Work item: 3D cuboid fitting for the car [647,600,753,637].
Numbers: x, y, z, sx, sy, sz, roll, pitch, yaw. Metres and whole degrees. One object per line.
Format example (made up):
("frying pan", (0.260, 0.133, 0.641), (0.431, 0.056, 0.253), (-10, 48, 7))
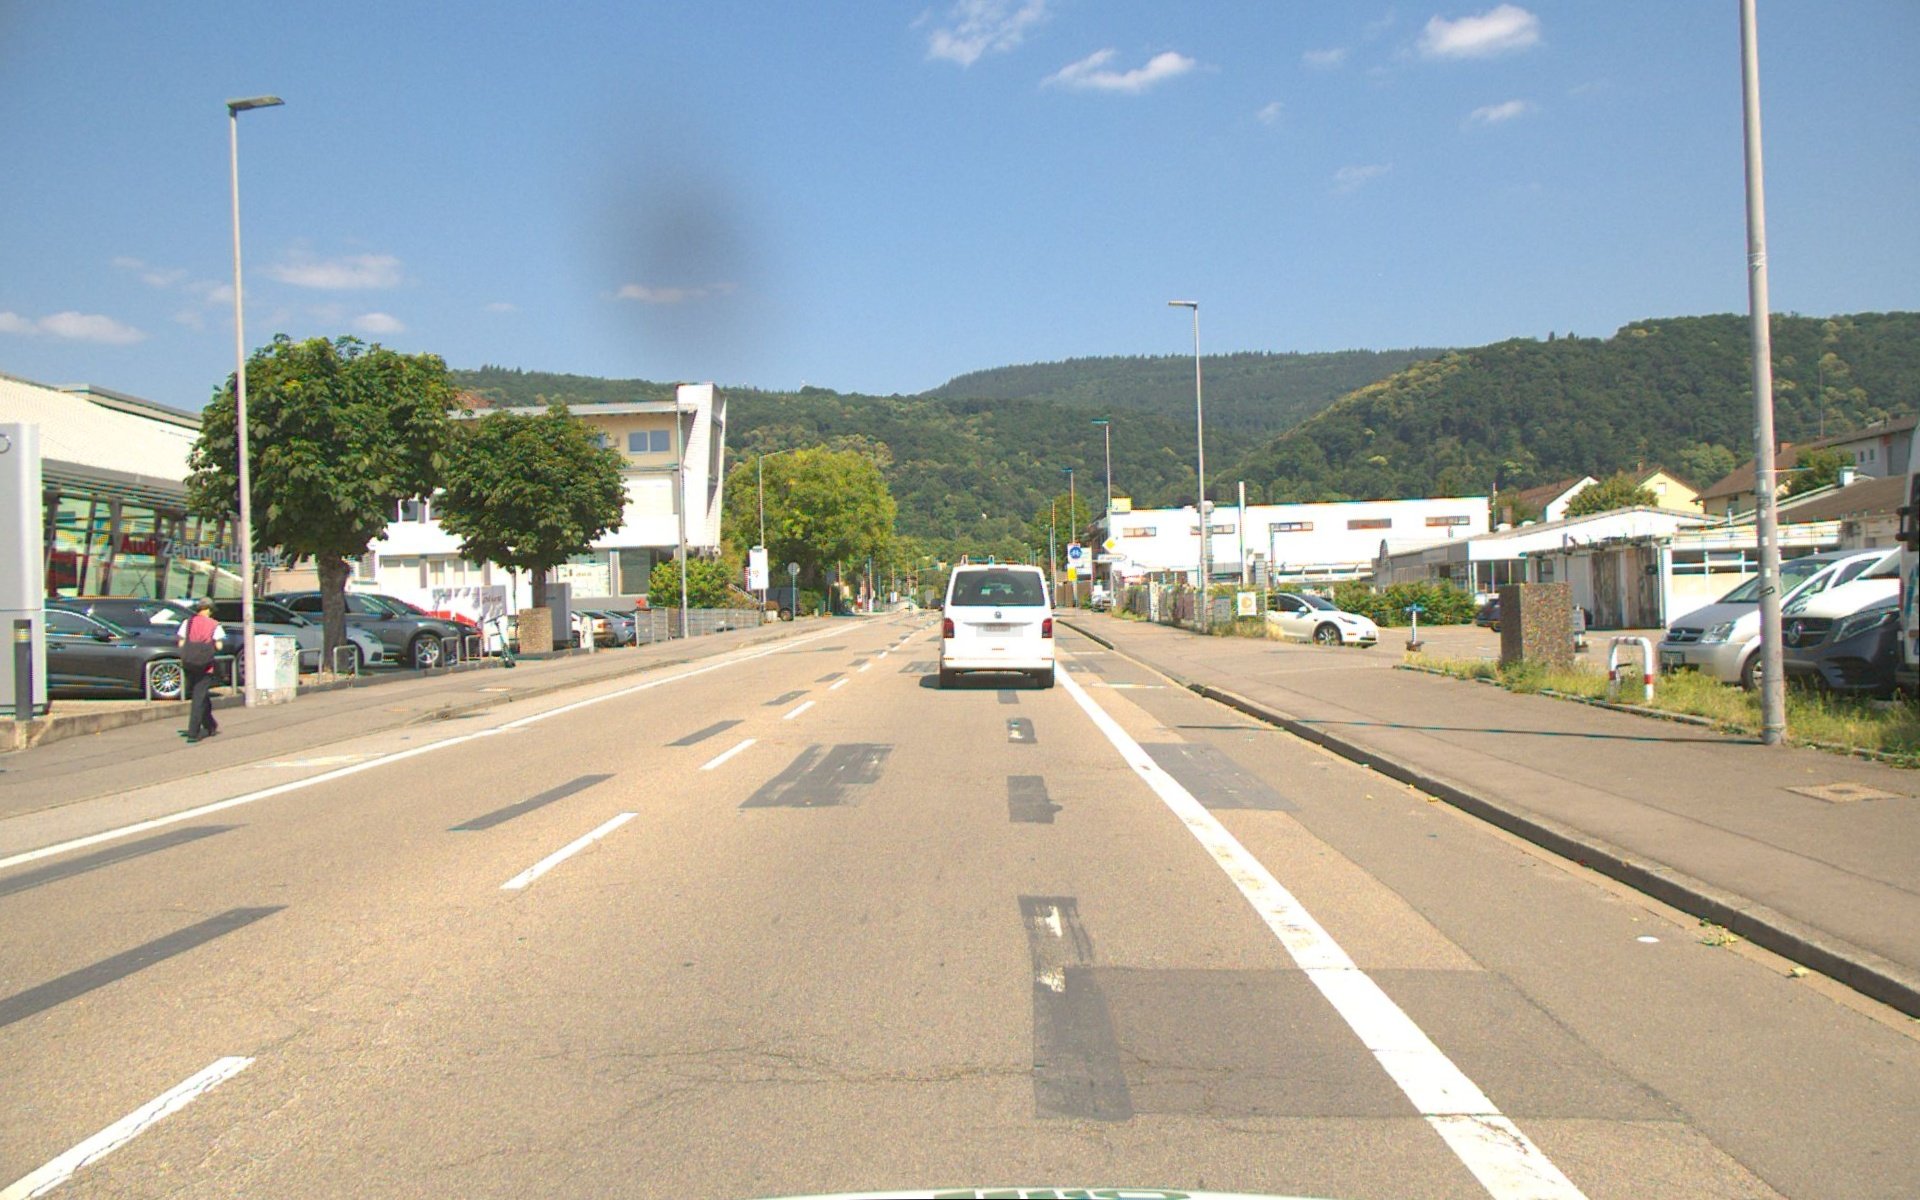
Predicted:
("car", (-12.293, 0.867, 78.432), (4.643, 1.506, 2.048), (-2, 0, -1))

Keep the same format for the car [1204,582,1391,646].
("car", (9.607, 0.448, 47.346), (4.960, 1.650, 2.010), (-1, -5, 44))

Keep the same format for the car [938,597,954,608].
("car", (-1.928, 0.291, 222.747), (1.952, 1.394, 4.327), (-3, 0, 2))

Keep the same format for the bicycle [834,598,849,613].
("bicycle", (-9.011, 0.440, 126.220), (1.006, 1.137, 2.765), (0, 0, -2))

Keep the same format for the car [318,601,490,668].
("car", (-14.428, 0.875, 42.964), (3.945, 1.577, 1.840), (-2, 0, -30))

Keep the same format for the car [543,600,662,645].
("car", (-13.010, 0.831, 60.432), (3.906, 1.469, 1.858), (2, -2, -2))

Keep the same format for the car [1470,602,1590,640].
("car", (23.391, 0.851, 67.970), (4.238, 1.422, 2.120), (-2, 0, 4))

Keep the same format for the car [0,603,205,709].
("car", (-13.747, 0.829, 24.815), (4.112, 1.485, 1.885), (3, -3, -35))

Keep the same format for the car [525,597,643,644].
("car", (-13.160, 0.746, 58.038), (3.816, 1.470, 1.820), (2, -3, -8))

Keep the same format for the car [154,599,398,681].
("car", (-13.384, 0.754, 32.436), (4.154, 1.521, 1.852), (0, -1, -35))

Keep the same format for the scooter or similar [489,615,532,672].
("scooter or similar", (-10.505, 0.998, 38.714), (0.729, 1.269, 1.488), (-2, 0, -7))

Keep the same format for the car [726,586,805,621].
("car", (-11.515, 0.200, 98.177), (4.476, 1.898, 2.091), (-1, 0, -4))

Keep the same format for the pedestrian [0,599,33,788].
("pedestrian", (-9.941, 0.943, 16.549), (0.708, 1.880, 0.912), (-2, 0, 5))

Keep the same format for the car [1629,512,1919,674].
("car", (9.739, -0.107, 18.386), (3.841, 1.621, 1.798), (-2, 0, 0))

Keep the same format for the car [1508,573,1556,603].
("car", (33.241, -0.715, 96.078), (1.956, 1.676, 3.993), (0, 2, 30))

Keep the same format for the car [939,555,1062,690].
("car", (0.611, 0.352, 28.048), (1.895, 2.096, 4.543), (1, 0, -1))

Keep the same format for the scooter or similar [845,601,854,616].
("scooter or similar", (-8.657, 0.658, 130.011), (0.634, 1.147, 1.621), (1, 0, -5))

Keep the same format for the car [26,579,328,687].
("car", (-13.457, 0.583, 28.510), (4.430, 1.636, 1.942), (2, 2, -35))

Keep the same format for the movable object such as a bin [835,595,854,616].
("movable object such as a bin", (-9.455, 0.444, 135.715), (1.421, 1.618, 1.305), (-3, 0, -8))

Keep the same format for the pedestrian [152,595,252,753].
("pedestrian", (-9.523, 0.905, 20.810), (0.717, 1.900, 1.047), (-2, 0, -1))

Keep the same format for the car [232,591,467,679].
("car", (-13.370, 0.721, 36.306), (4.527, 1.726, 1.836), (-2, 0, -35))

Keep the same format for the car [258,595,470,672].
("car", (-14.111, 0.751, 39.253), (4.429, 1.738, 1.887), (0, -1, -35))

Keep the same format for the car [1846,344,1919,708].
("car", (10.756, -0.709, 13.134), (6.100, 2.919, 2.320), (-2, 0, 1))

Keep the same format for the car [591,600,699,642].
("car", (-13.356, 0.896, 70.402), (4.211, 1.586, 1.994), (-2, 0, -3))

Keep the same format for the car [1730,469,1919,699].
("car", (10.295, -0.270, 15.524), (5.127, 1.986, 2.000), (-3, 0, 0))

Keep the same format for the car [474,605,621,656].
("car", (-13.826, 1.000, 55.646), (4.432, 1.483, 1.900), (-2, 0, -1))
